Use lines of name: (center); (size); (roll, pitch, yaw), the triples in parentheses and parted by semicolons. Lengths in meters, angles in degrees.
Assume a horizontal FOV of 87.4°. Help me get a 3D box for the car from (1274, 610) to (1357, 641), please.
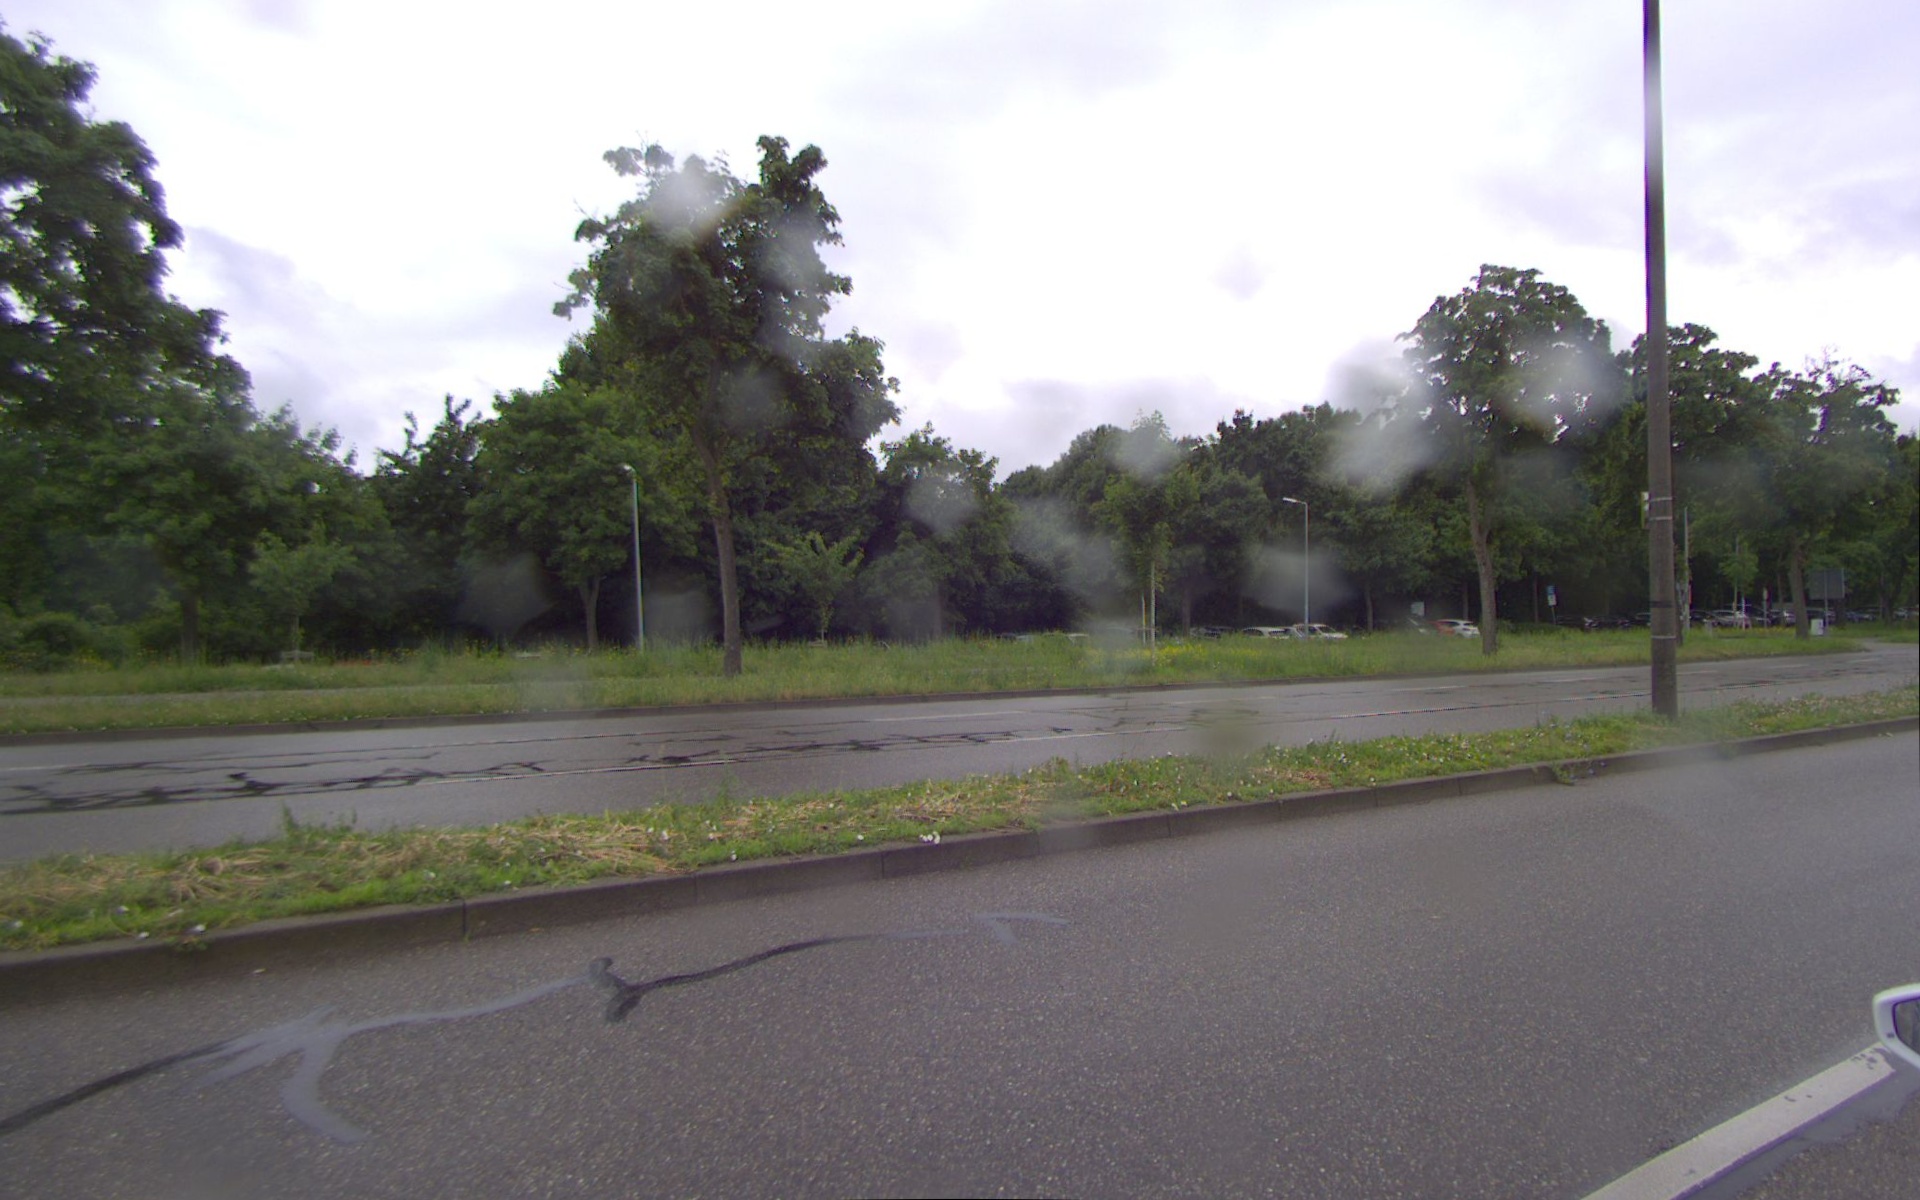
car: (19.549, 1.360, 55.334); (1.980, 1.639, 3.961); (0, 0, -35)

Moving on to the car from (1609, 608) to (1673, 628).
car: (52.483, 1.361, 77.495); (1.509, 1.471, 3.810); (0, -1, -35)

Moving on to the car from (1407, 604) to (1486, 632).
car: (29.884, 1.111, 61.753); (1.892, 1.662, 3.961); (0, -1, -35)

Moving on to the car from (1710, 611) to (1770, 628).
car: (67.424, 1.692, 86.867); (1.509, 1.471, 3.810); (0, -1, -35)

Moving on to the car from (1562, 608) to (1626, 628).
car: (46.201, 1.309, 73.279); (1.473, 1.445, 3.710); (0, -1, -35)

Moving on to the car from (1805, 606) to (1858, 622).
car: (84.115, 1.372, 96.928); (3.796, 1.471, 1.515); (-1, -1, 45)

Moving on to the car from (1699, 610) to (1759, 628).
car: (65.490, 1.637, 85.611); (1.509, 1.471, 3.810); (0, -1, -35)

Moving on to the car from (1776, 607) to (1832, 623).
car: (78.309, 1.396, 93.230); (1.513, 1.471, 3.801); (0, -1, -42)

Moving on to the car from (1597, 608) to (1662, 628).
car: (50.590, 1.354, 75.951); (1.509, 1.471, 3.810); (0, -1, -35)

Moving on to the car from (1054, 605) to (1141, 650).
car: (6.471, 1.265, 47.627); (1.980, 2.040, 3.961); (0, 0, -35)

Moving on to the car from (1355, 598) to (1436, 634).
car: (25.644, 0.943, 59.200); (1.980, 2.040, 3.961); (0, 0, -35)

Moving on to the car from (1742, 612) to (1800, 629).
car: (73.518, 1.819, 91.068); (1.509, 1.471, 3.810); (0, -1, -35)

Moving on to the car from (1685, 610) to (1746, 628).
car: (63.326, 1.580, 84.206); (1.509, 1.471, 3.810); (0, -1, -35)

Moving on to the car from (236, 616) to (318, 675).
car: (-21.325, 1.351, 31.372); (1.980, 1.707, 3.961); (0, -1, -35)

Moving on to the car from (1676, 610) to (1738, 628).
car: (61.457, 1.542, 82.669); (1.509, 1.471, 3.810); (0, -1, -35)

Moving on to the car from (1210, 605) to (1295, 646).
car: (15.332, 1.299, 52.852); (1.980, 2.040, 3.961); (0, 0, -35)
